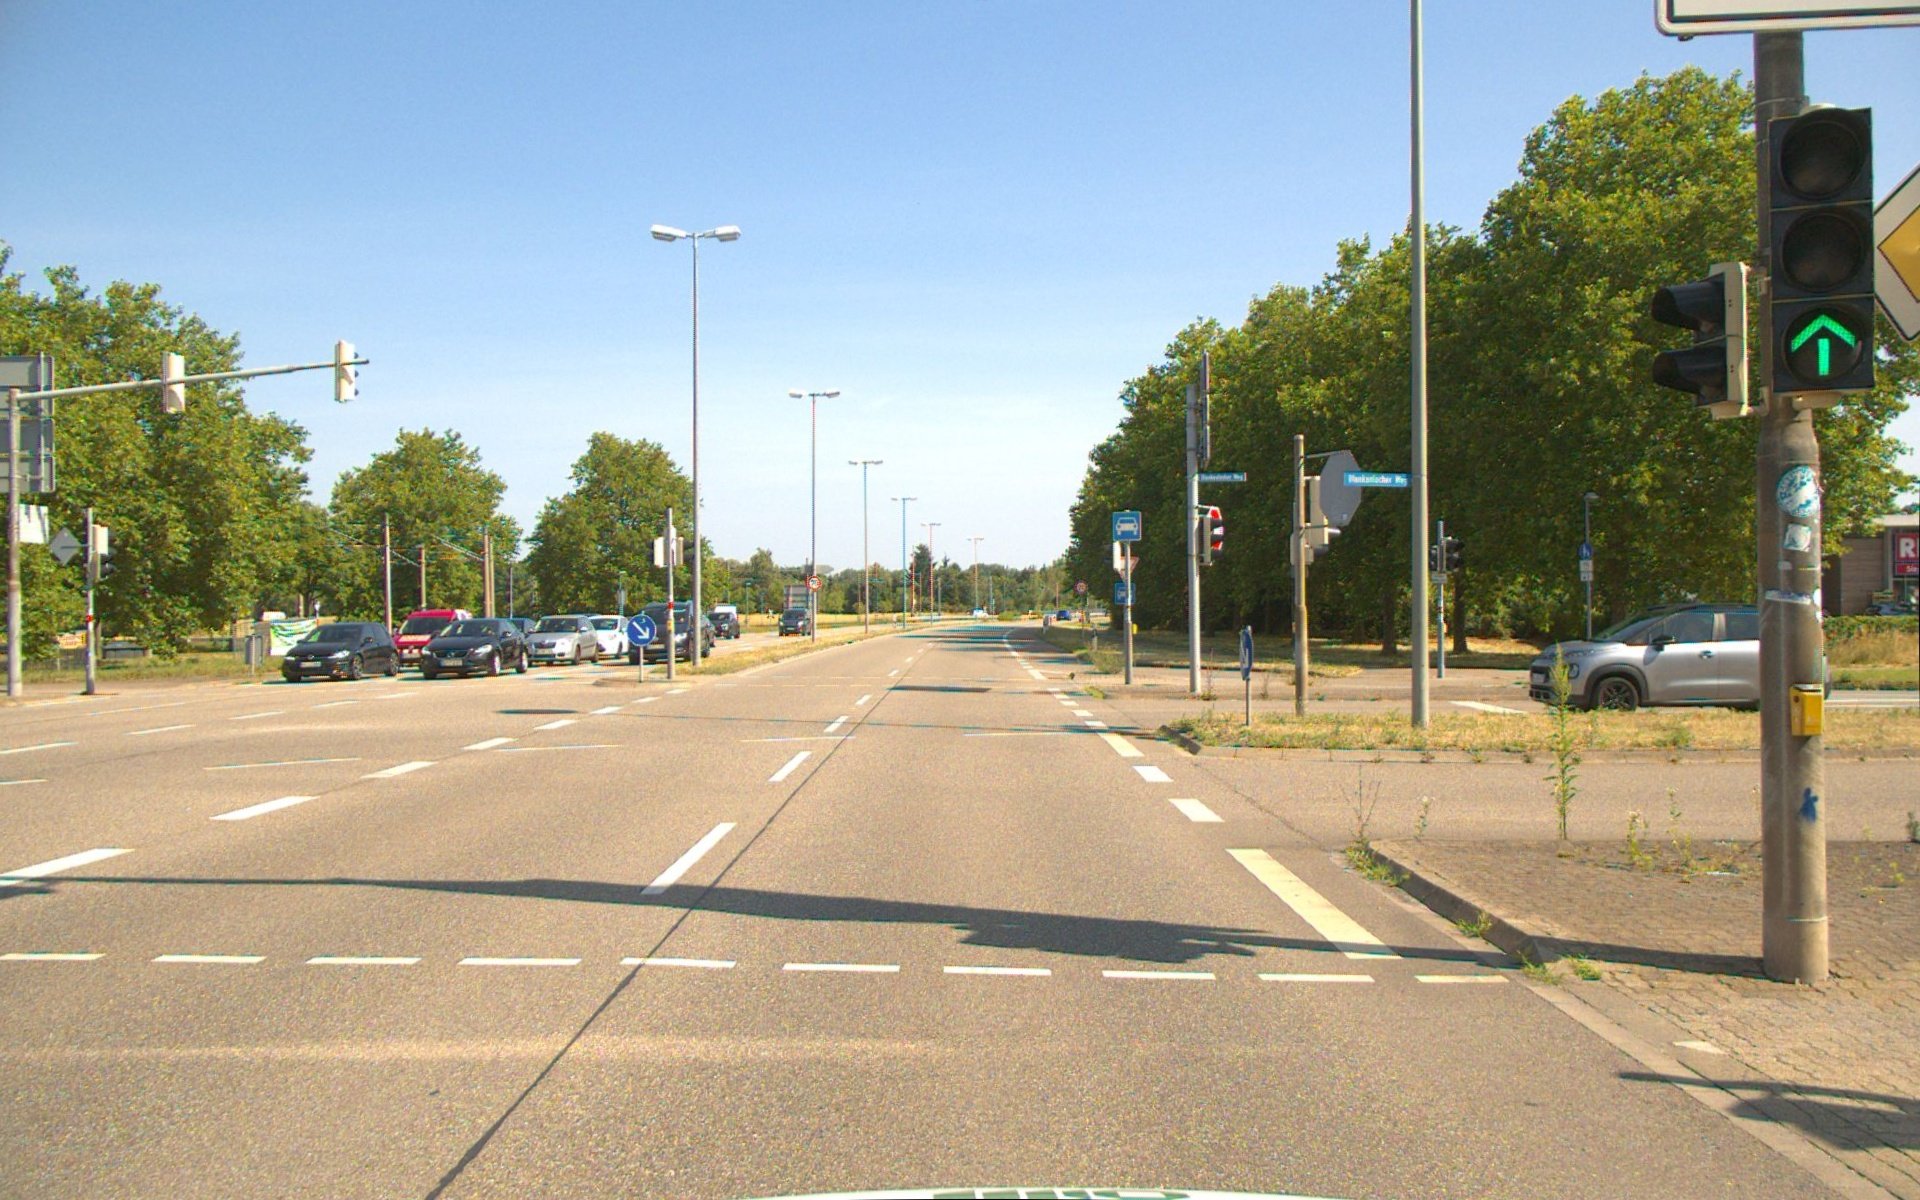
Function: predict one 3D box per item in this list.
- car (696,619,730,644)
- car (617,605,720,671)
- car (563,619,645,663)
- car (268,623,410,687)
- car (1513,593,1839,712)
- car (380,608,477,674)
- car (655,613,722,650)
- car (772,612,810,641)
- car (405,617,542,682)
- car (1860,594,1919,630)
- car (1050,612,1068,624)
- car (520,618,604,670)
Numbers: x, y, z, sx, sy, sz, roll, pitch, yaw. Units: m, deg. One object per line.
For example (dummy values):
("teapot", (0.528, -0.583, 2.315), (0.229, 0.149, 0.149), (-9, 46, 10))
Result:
("car", (-15.066, 1.898, 101.089), (1.944, 1.483, 4.222), (-1, -1, -7))
("car", (-8.289, 1.046, 47.468), (1.940, 1.781, 4.509), (-1, -1, 3))
("car", (-12.075, 1.378, 56.380), (1.790, 1.410, 3.844), (-1, -1, 3))
("car", (-15.754, 1.362, 42.175), (1.846, 1.483, 4.230), (-1, -1, 3))
("car", (10.299, 0.741, 23.996), (3.969, 1.591, 1.742), (-1, -1, 0))
("car", (-15.575, 1.179, 48.652), (1.670, 1.801, 4.226), (-2, 0, -3))
("car", (-11.497, 1.313, 70.289), (1.940, 1.483, 4.451), (-1, -1, 3))
("car", (-11.061, 1.714, 108.645), (1.940, 1.811, 4.490), (-1, -1, 1))
("car", (-11.931, 1.174, 40.862), (1.940, 1.483, 4.334), (-1, -1, 3))
("car", (48.566, 0.604, 84.218), (4.398, 1.781, 1.989), (-1, -1, 5))
("car", (13.123, 2.389, 219.844), (1.939, 1.483, 4.121), (-1, 0, 10))
("car", (-11.907, 1.284, 49.635), (1.586, 1.483, 3.871), (-1, -1, 0))
